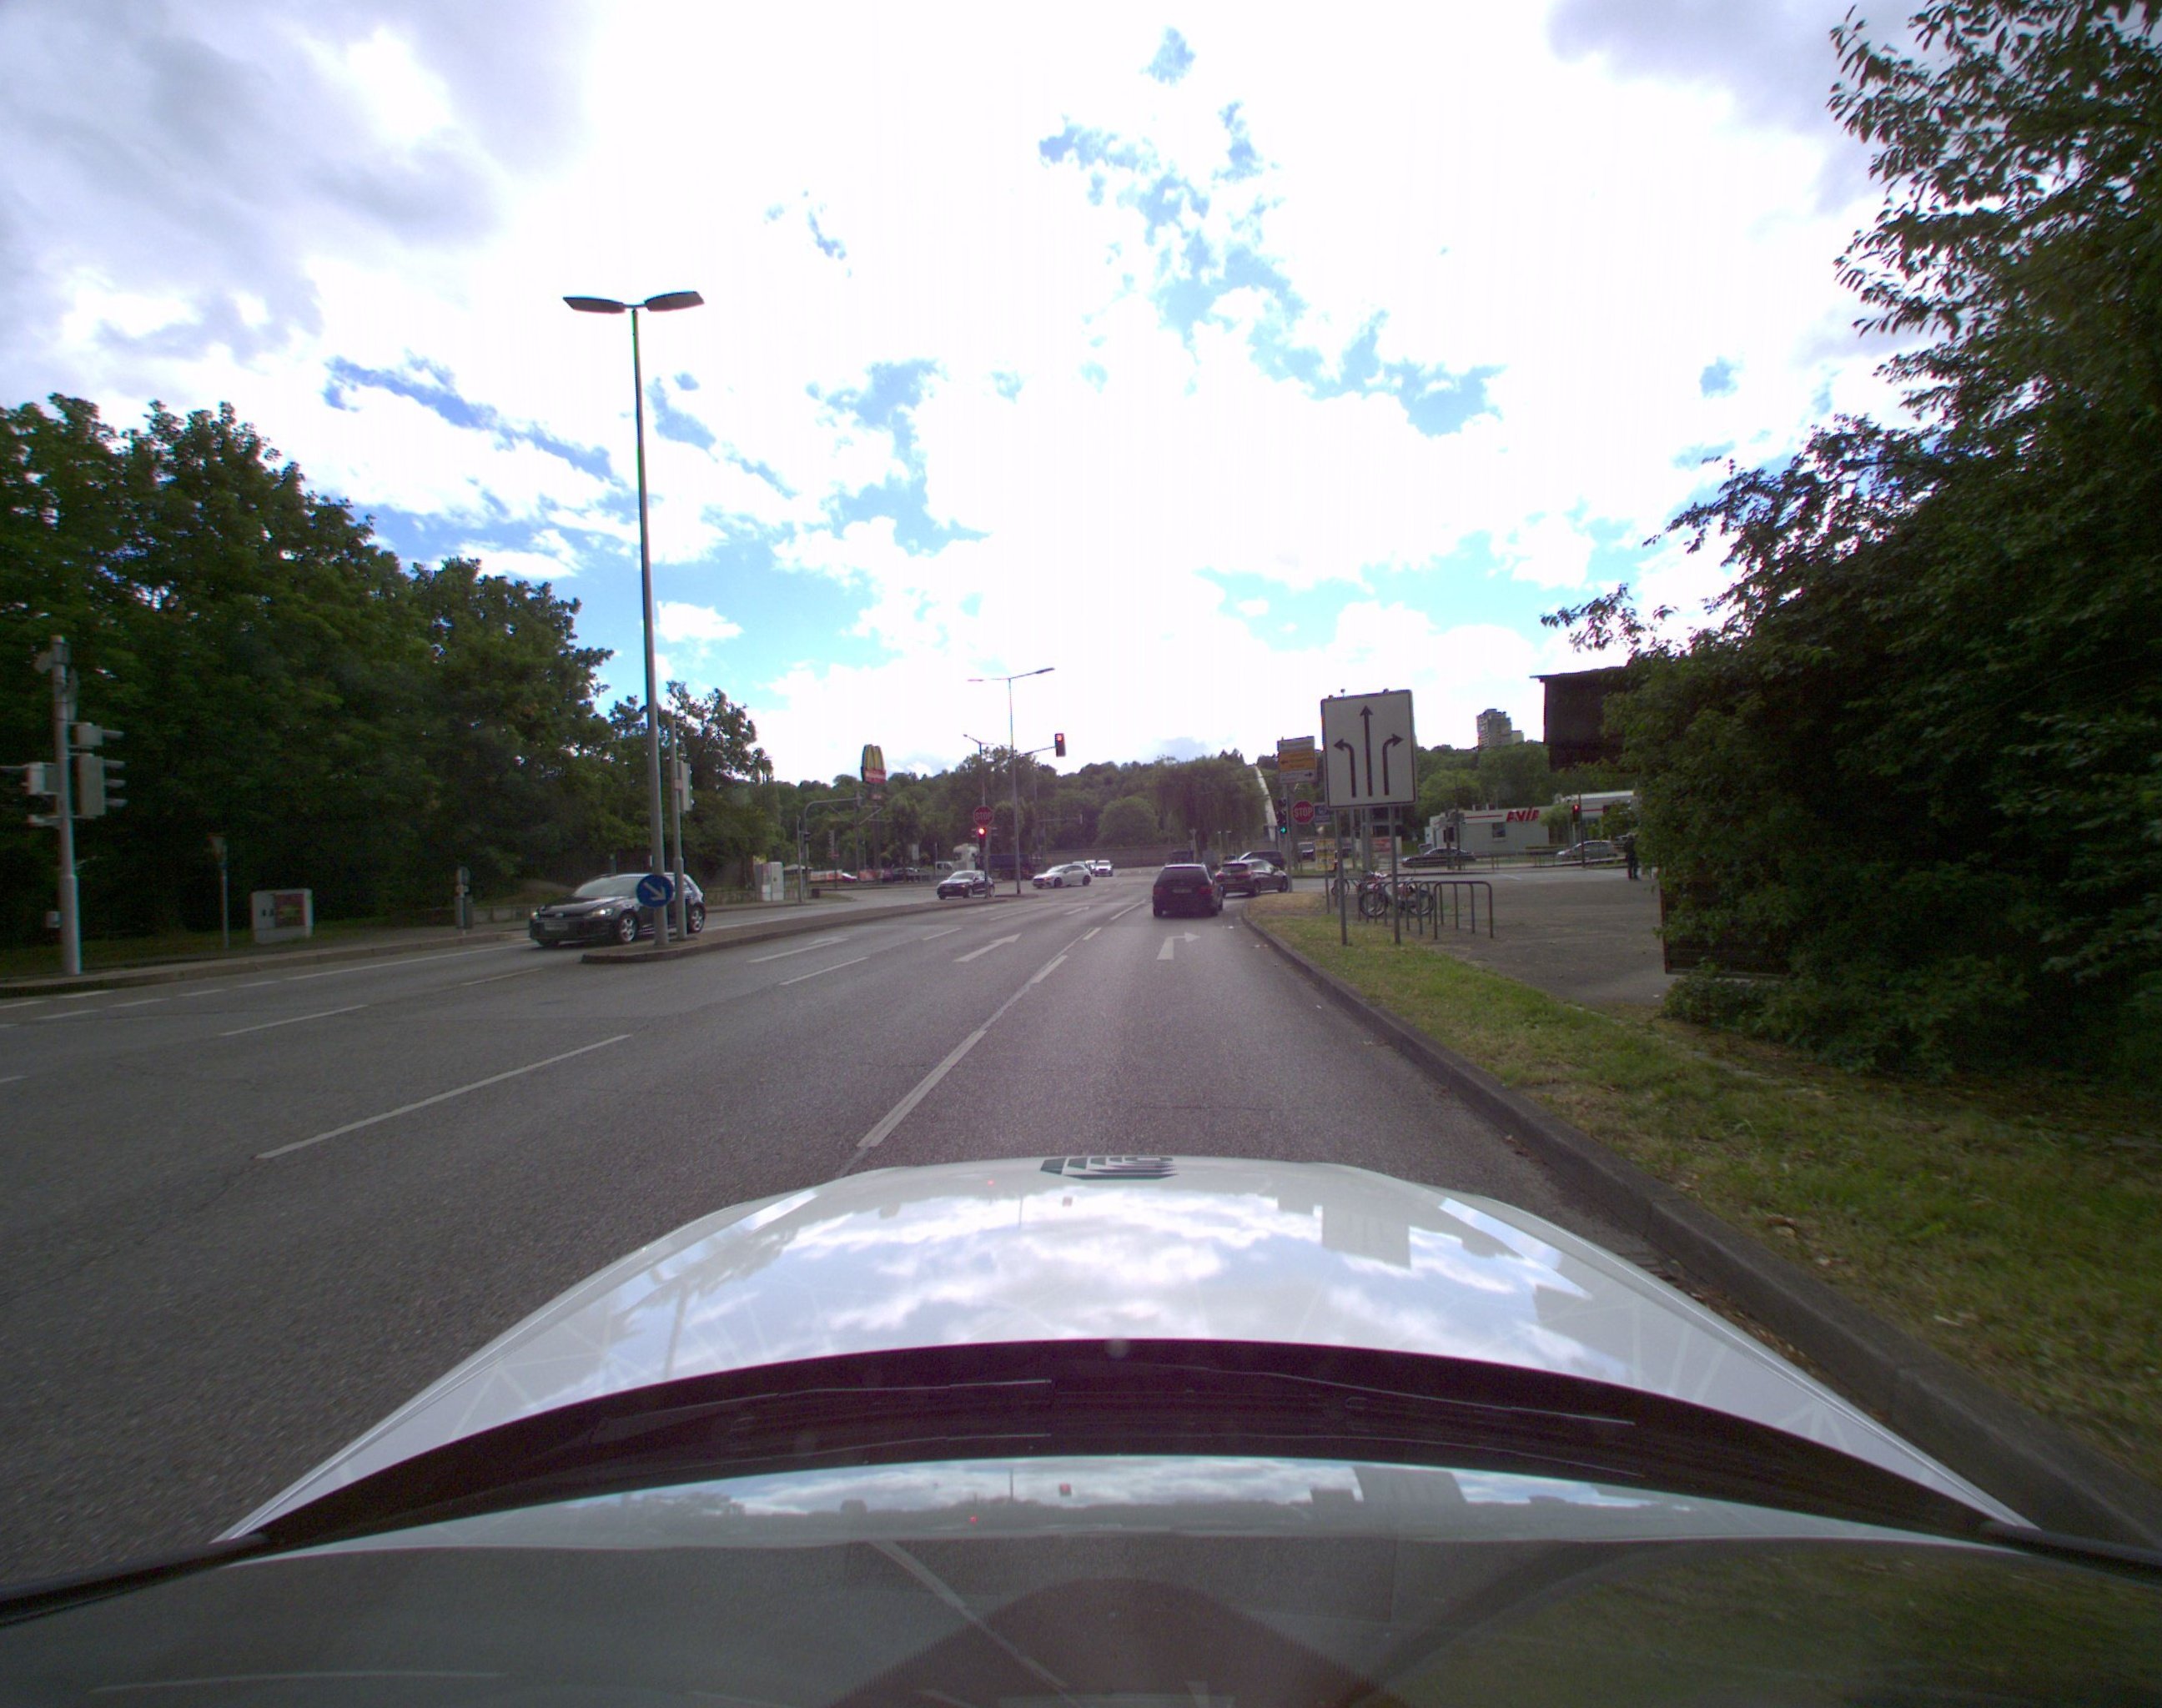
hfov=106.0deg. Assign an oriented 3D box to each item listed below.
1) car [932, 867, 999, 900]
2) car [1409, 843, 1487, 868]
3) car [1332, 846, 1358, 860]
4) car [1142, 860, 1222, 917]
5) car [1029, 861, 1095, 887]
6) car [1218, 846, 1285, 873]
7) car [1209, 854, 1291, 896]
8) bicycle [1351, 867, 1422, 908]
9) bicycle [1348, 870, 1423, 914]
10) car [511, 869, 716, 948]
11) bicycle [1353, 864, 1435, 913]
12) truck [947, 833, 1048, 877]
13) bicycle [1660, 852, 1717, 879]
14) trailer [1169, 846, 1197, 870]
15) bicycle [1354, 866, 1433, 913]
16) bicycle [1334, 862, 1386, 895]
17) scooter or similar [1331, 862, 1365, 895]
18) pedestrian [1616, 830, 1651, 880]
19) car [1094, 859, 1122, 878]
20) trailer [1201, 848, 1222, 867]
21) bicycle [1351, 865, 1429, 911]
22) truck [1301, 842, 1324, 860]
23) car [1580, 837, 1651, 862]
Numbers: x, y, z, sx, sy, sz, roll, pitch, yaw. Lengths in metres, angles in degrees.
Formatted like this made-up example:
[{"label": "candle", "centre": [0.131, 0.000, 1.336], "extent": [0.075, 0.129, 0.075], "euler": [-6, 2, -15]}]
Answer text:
[{"label": "car", "centre": [-5.849, 1.476, 41.539], "extent": [1.602, 1.416, 3.916], "euler": [-3, 0, 21]}, {"label": "car", "centre": [26.495, 0.086, 58.912], "extent": [5.007, 1.524, 1.753], "euler": [-3, 0, 22]}, {"label": "car", "centre": [36.879, -0.137, 113.711], "extent": [3.132, 1.819, 1.407], "euler": [-4, -2, 9]}, {"label": "car", "centre": [3.061, 0.941, 23.830], "extent": [1.810, 1.509, 4.590], "euler": [-1, -1, 13]}, {"label": "car", "centre": [-1.174, 1.276, 52.533], "extent": [1.585, 1.405, 4.317], "euler": [-3, -1, 45]}, {"label": "car", "centre": [12.733, 0.417, 60.832], "extent": [4.541, 1.774, 1.603], "euler": [-3, 0, -8]}, {"label": "car", "centre": [7.195, 0.878, 34.449], "extent": [1.710, 1.530, 4.175], "euler": [-3, 0, 37]}, {"label": "bicycle", "centre": [8.628, 0.938, 23.027], "extent": [1.768, 1.111, 0.555], "euler": [-2, -1, 9]}, {"label": "bicycle", "centre": [8.138, 1.014, 21.790], "extent": [1.768, 1.111, 0.542], "euler": [-2, -3, 9]}, {"label": "car", "centre": [-9.730, 1.068, 17.409], "extent": [1.670, 1.366, 4.315], "euler": [-2, 0, 3]}, {"label": "bicycle", "centre": [7.592, 0.852, 19.781], "extent": [1.761, 1.111, 0.428], "euler": [-4, -2, 28]}, {"label": "truck", "centre": [-8.106, 0.120, 79.043], "extent": [9.020, 3.588, 3.236], "euler": [-4, -2, 22]}, {"label": "bicycle", "centre": [22.404, 0.429, 30.052], "extent": [1.705, 0.898, 0.360], "euler": [-3, -1, 9]}, {"label": "trailer", "centre": [12.065, 0.443, 96.039], "extent": [2.334, 2.582, 4.941], "euler": [-4, -2, 17]}, {"label": "bicycle", "centre": [7.818, 0.893, 20.456], "extent": [1.765, 1.111, 0.457], "euler": [-3, -2, 14]}, {"label": "bicycle", "centre": [9.955, 0.879, 29.119], "extent": [1.679, 1.111, 0.480], "euler": [-3, 1, 9]}, {"label": "scooter or similar", "centre": [10.052, 0.926, 30.696], "extent": [1.172, 1.169, 0.295], "euler": [-3, -1, 16]}, {"label": "pedestrian", "centre": [20.720, 0.027, 30.540], "extent": [0.688, 1.819, 0.773], "euler": [-2, -1, -14]}, {"label": "car", "centre": [2.959, 1.547, 88.189], "extent": [1.978, 1.860, 4.018], "euler": [-3, 0, 17]}, {"label": "trailer", "centre": [15.653, 0.438, 97.534], "extent": [1.980, 2.184, 4.014], "euler": [-4, -1, 13]}, {"label": "bicycle", "centre": [8.008, 0.882, 21.156], "extent": [1.768, 1.111, 0.581], "euler": [-2, -1, 9]}, {"label": "truck", "centre": [27.854, -0.318, 98.133], "extent": [2.219, 2.014, 5.258], "euler": [-4, -1, 13]}, {"label": "car", "centre": [36.853, -0.278, 56.233], "extent": [3.737, 1.508, 1.713], "euler": [-3, -1, 21]}]
